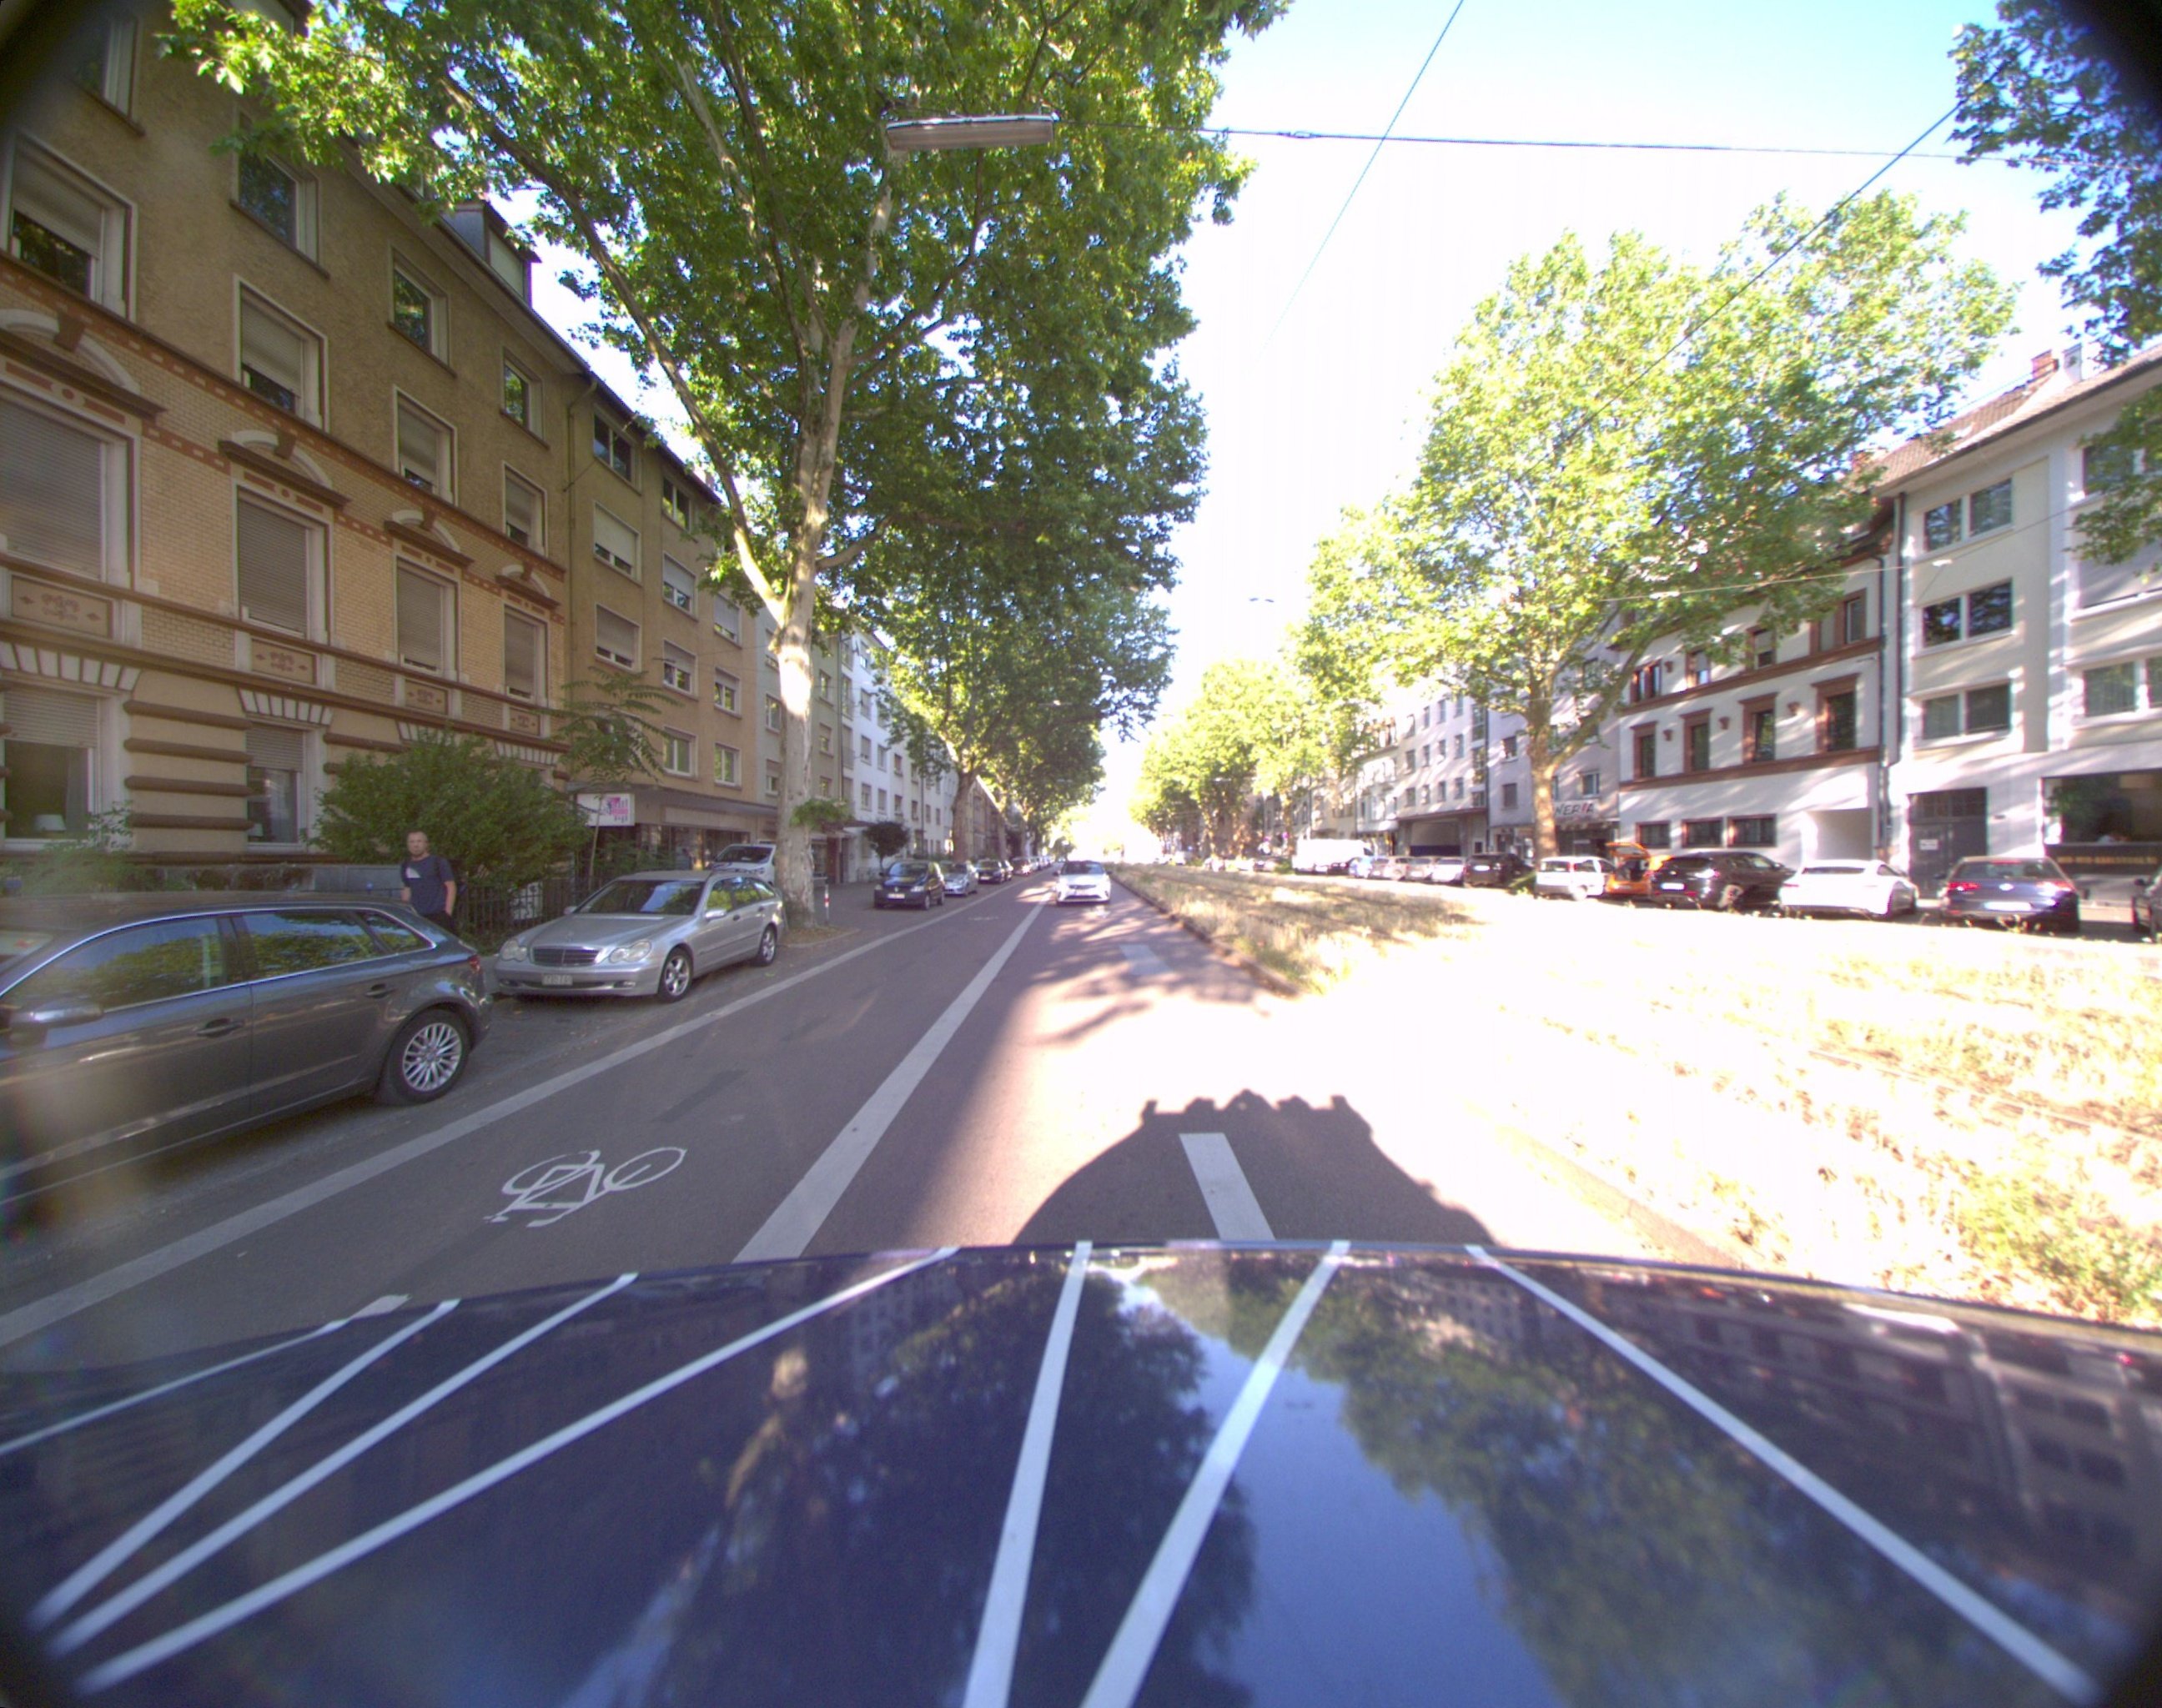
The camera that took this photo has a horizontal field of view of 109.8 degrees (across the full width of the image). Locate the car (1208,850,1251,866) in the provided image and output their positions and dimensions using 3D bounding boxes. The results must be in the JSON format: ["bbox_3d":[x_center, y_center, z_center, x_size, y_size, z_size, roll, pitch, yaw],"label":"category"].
[{"bbox_3d":[16.333,0.410,83.731,4.234,1.696,1.999,0,0,-4],"label":"car"}]

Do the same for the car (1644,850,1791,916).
[{"bbox_3d":[18.223,0.737,21.713,4.265,1.674,2.147,-1,1,-34],"label":"car"}]

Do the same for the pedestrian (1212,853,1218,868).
[{"bbox_3d":[14.580,0.718,82.813,0.620,1.588,0.422,0,1,1],"label":"pedestrian"}]

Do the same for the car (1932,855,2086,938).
[{"bbox_3d":[19.315,0.786,15.985,3.979,1.495,1.827,-1,1,-42],"label":"car"}]

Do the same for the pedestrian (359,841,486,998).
[{"bbox_3d":[-7.533,0.712,8.729,0.728,1.701,0.816,2,1,0],"label":"pedestrian"}]

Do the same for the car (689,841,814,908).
[{"bbox_3d":[-10.373,0.589,24.365,1.933,1.864,4.677,2,0,-1],"label":"car"}]

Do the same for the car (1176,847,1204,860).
[{"bbox_3d":[18.720,-0.034,129.996,4.952,2.200,2.096,-1,1,-42],"label":"car"}]

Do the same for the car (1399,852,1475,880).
[{"bbox_3d":[19.208,0.608,40.944,4.265,1.449,1.902,-1,1,-36],"label":"car"}]

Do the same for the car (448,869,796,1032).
[{"bbox_3d":[-5.383,1.007,9.770,1.803,1.446,4.511,2,0,-1],"label":"car"}]

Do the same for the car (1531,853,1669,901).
[{"bbox_3d":[18.169,0.766,26.633,4.260,1.548,1.641,0,1,-15],"label":"car"}]

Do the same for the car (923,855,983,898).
[{"bbox_3d":[-5.338,0.903,32.236,1.803,1.599,4.369,2,0,-1],"label":"car"}]

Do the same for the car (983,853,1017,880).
[{"bbox_3d":[-5.387,0.801,50.898,1.803,1.599,4.369,2,0,-1],"label":"car"}]

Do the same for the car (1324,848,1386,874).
[{"bbox_3d":[19.736,0.449,54.806,4.005,1.805,1.995,-1,1,-27],"label":"car"}]

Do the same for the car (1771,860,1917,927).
[{"bbox_3d":[18.561,0.865,18.429,4.266,1.369,2.147,-1,0,-40],"label":"car"}]

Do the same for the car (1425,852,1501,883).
[{"bbox_3d":[18.973,0.633,37.667,4.265,1.451,1.598,-1,1,-36],"label":"car"}]

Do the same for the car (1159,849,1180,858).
[{"bbox_3d":[17.912,-0.044,153.785,3.994,1.802,1.874,0,1,10],"label":"car"}]

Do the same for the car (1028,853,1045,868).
[{"bbox_3d":[-5.412,0.730,93.106,1.803,1.742,4.104,2,0,-1],"label":"car"}]

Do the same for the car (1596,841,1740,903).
[{"bbox_3d":[19.420,0.561,25.173,4.260,1.932,1.514,0,1,-15],"label":"car"}]

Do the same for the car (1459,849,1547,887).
[{"bbox_3d":[18.925,0.585,34.035,4.265,1.605,1.902,-1,1,-37],"label":"car"}]

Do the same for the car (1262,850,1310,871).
[{"bbox_3d":[18.830,0.577,69.743,4.005,1.805,1.995,-1,1,-27],"label":"car"}]

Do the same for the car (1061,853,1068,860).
[{"bbox_3d":[-5.428,0.719,246.175,1.998,2.002,4.000,-2,1,1],"label":"car"}]

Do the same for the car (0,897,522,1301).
[{"bbox_3d":[-5.200,1.063,3.604,1.802,1.393,4.370,2,0,1],"label":"car"}]

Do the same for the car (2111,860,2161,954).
[{"bbox_3d":[19.085,0.829,12.728,3.979,1.424,1.738,-1,-1,-42],"label":"car"}]

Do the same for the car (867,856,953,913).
[{"bbox_3d":[-5.407,0.896,24.600,1.803,1.599,4.369,2,0,-1],"label":"car"}]

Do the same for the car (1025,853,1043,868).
[{"bbox_3d":[-5.381,0.735,86.689,1.803,1.599,4.104,2,0,-1],"label":"car"}]

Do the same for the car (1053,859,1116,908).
[{"bbox_3d":[0.089,0.894,24.972,1.865,1.394,3.931,-2,0,0],"label":"car"}]

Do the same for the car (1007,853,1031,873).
[{"bbox_3d":[-5.361,0.774,66.242,1.803,1.599,4.104,2,0,-1],"label":"car"}]

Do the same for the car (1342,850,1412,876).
[{"bbox_3d":[18.792,0.551,48.268,4.005,1.608,1.995,-1,1,-27],"label":"car"}]

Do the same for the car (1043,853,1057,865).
[{"bbox_3d":[-4.504,0.704,110.229,1.803,1.598,3.702,2,0,-1],"label":"car"}]

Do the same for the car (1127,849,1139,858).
[{"bbox_3d":[15.060,-0.102,221.233,2.963,2.407,6.327,-2,1,1],"label":"car"}]

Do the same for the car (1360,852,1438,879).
[{"bbox_3d":[18.880,0.666,45.141,4.004,1.509,1.996,0,0,-20],"label":"car"}]

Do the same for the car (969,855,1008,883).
[{"bbox_3d":[-5.461,0.853,45.386,1.803,1.494,4.369,2,0,-1],"label":"car"}]

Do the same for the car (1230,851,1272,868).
[{"bbox_3d":[18.277,0.573,81.554,4.005,1.696,1.995,-1,1,-27],"label":"car"}]

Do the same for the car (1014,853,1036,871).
[{"bbox_3d":[-5.367,0.770,73.518,1.803,1.599,4.104,2,0,-1],"label":"car"}]

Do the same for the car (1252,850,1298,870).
[{"bbox_3d":[18.653,0.568,73.015,4.005,1.805,1.995,-1,1,-27],"label":"car"}]

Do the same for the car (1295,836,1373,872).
[{"bbox_3d":[19.186,-0.030,57.583,5.619,2.684,2.176,-1,1,-24],"label":"car"}]
